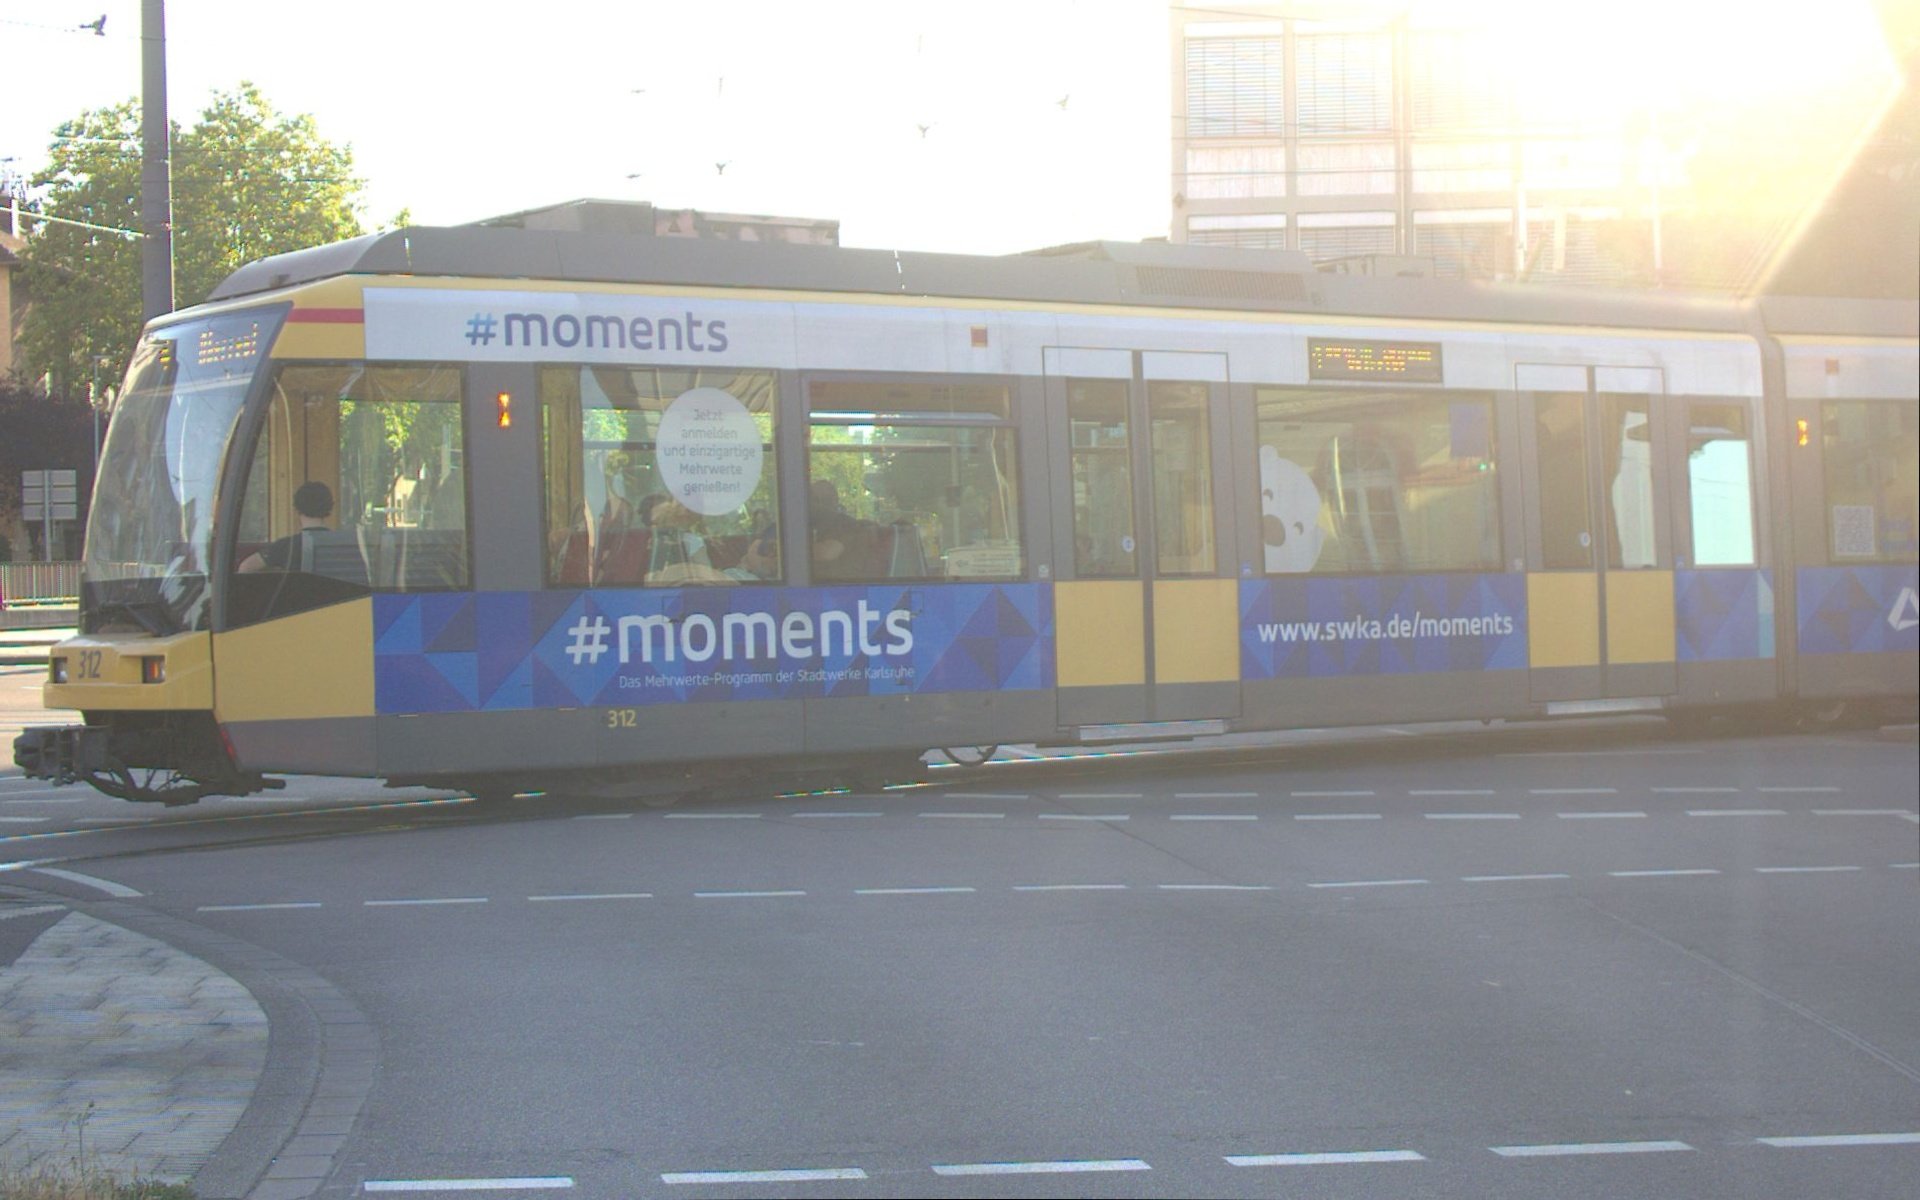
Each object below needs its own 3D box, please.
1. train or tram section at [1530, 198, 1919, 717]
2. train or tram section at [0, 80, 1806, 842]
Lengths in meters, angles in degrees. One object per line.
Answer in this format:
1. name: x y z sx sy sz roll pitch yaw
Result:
1. train or tram section: 11.531 -1.092 28.952 12.933 3.820 3.717 0 1 -16
2. train or tram section: -0.159 -0.799 22.782 13.320 3.820 3.714 -1 1 -38
